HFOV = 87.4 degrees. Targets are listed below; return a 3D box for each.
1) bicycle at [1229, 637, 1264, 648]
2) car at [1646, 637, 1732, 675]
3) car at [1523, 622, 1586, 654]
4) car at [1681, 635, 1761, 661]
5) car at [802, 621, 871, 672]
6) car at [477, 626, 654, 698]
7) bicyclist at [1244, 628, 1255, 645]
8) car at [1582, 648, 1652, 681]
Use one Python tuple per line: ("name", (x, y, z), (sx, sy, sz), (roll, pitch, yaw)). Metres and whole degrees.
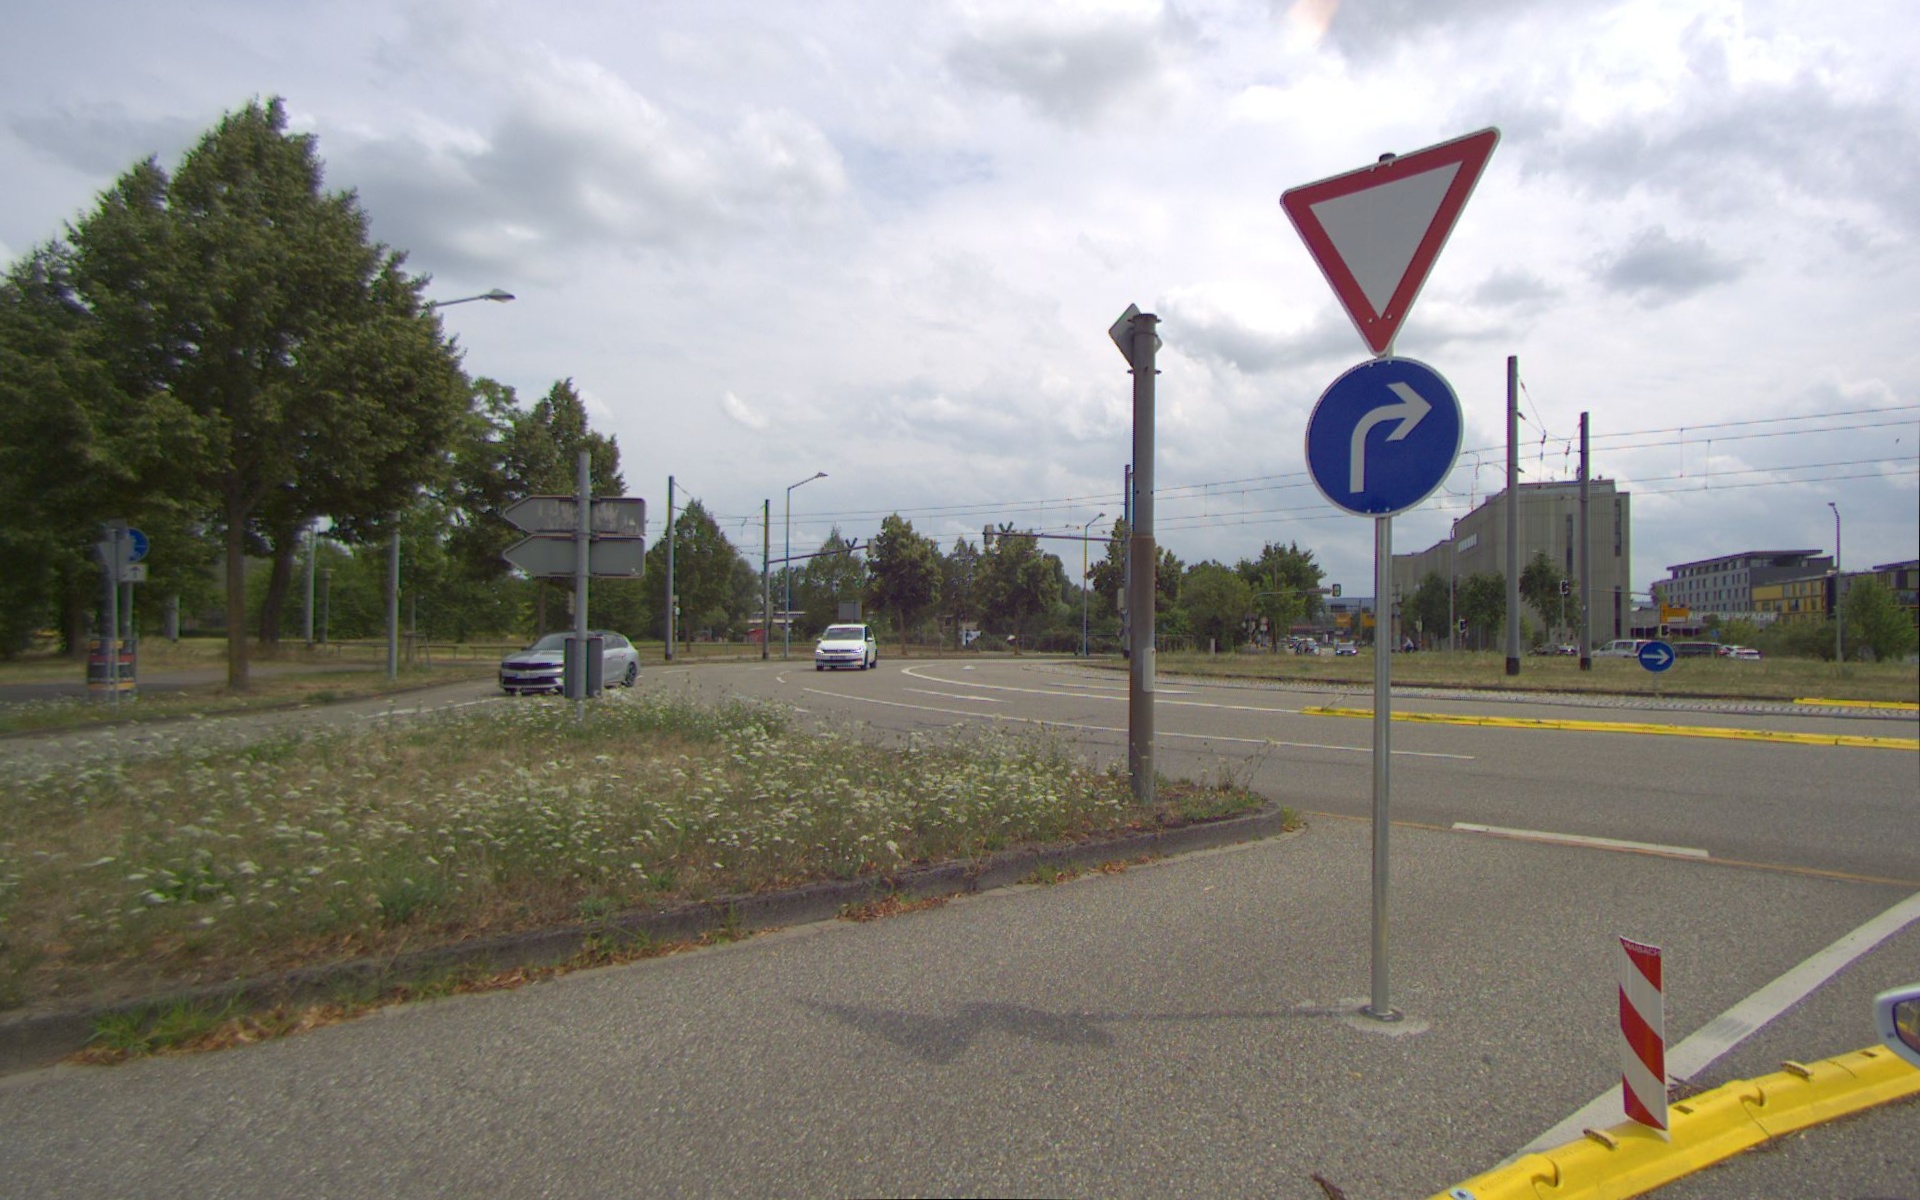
("bicycle", (23.582, 3.517, 82.680), (2.606, 0.866, 0.864), (1, -2, 0))
("car", (43.220, 3.304, 59.588), (3.942, 2.040, 1.990), (1, -2, 42))
("car", (40.690, 2.593, 68.882), (1.960, 2.040, 4.001), (2, -2, 1))
("car", (49.836, 3.130, 65.862), (1.802, 1.483, 3.991), (3, -2, -12))
("car", (-4.545, 1.651, 36.352), (1.906, 1.687, 4.343), (-1, -2, -15))
("car", (-9.197, 1.405, 23.988), (1.960, 1.502, 5.186), (1, -2, 3))
("bicyclist", (23.795, 2.984, 82.672), (0.661, 1.428, 0.864), (1, -2, 0))
("car", (45.098, 4.387, 69.088), (1.960, 2.040, 4.363), (2, -2, 1))
